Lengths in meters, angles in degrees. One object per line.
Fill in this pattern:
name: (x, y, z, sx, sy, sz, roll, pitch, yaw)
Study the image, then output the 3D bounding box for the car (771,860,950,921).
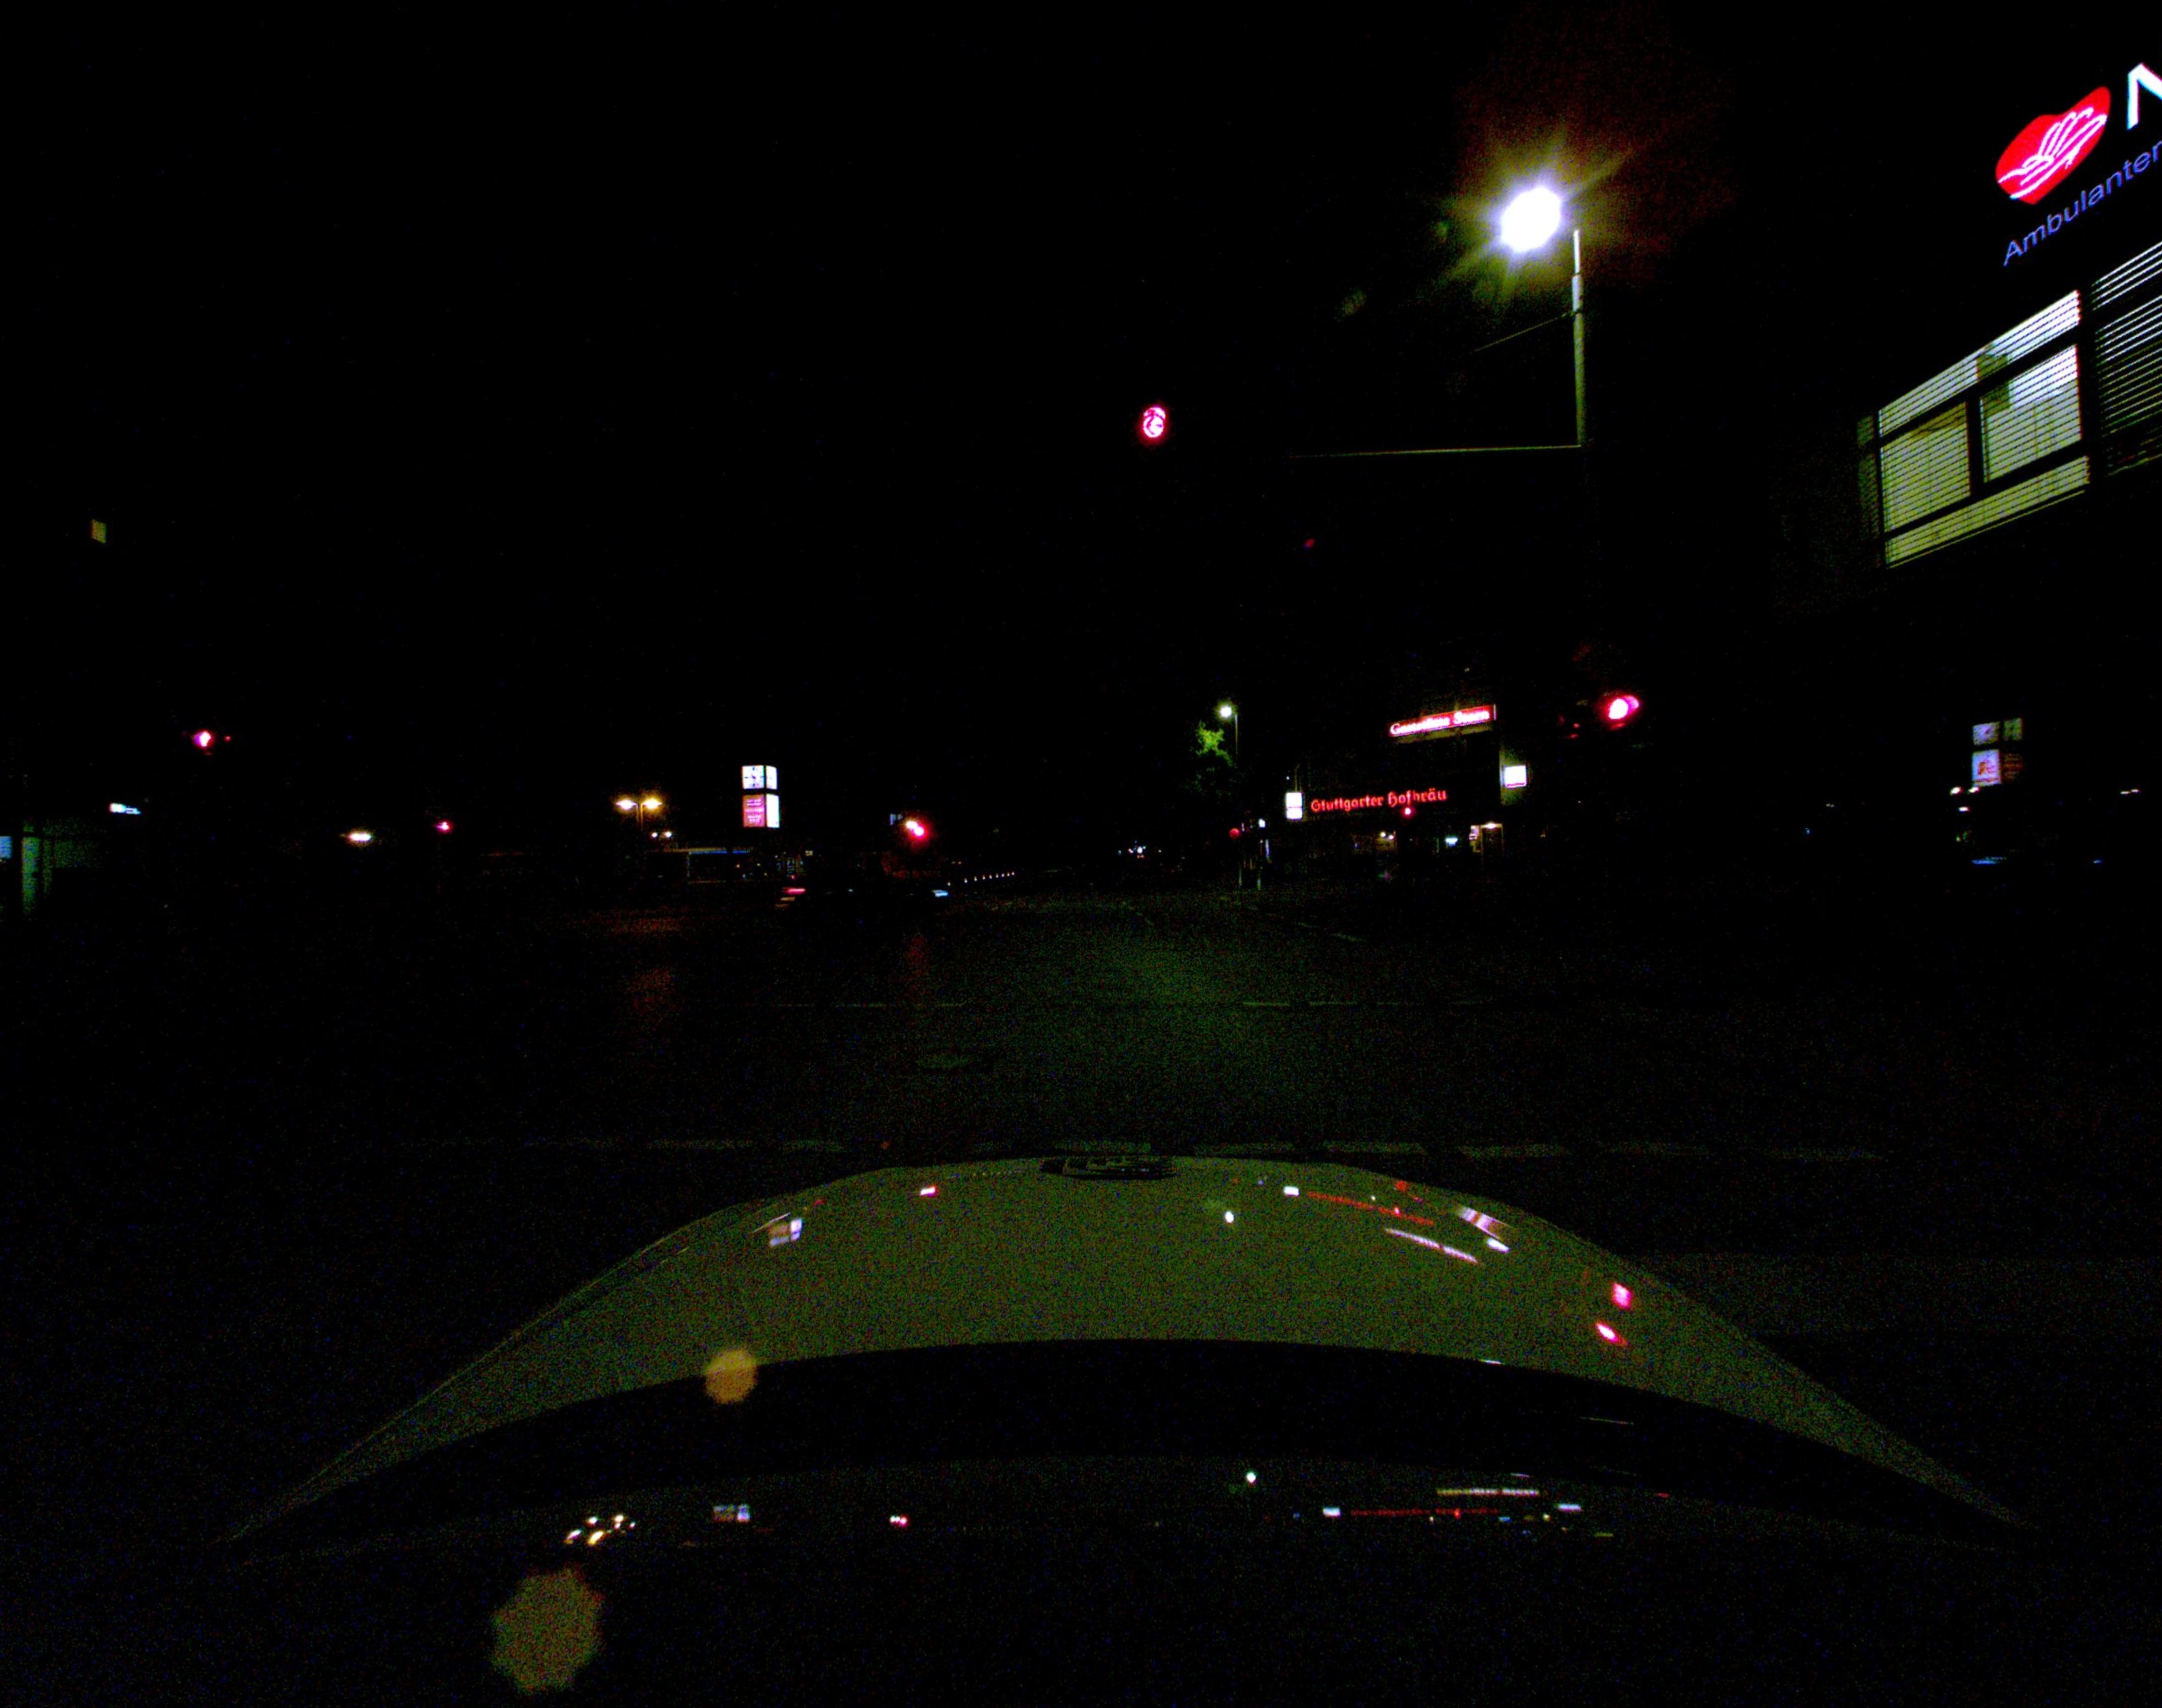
car: (-5.880, 0.909, 21.821, 4.328, 1.454, 1.862, 0, -1, -29)

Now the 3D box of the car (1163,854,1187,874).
car: (7.881, 0.829, 68.776, 1.868, 1.615, 4.005, -2, -1, 5)

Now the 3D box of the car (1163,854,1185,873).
car: (8.675, 0.875, 76.432, 1.868, 1.729, 4.005, -2, -1, 5)

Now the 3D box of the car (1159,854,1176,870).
car: (10.041, 0.916, 94.472, 1.868, 1.683, 4.005, -2, -1, 5)

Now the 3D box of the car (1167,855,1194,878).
car: (7.705, 0.958, 63.468, 1.868, 1.615, 4.005, -2, -1, 5)

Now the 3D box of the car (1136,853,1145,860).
car: (15.433, 0.718, 212.148, 2.218, 1.651, 4.003, -1, 0, 3)
